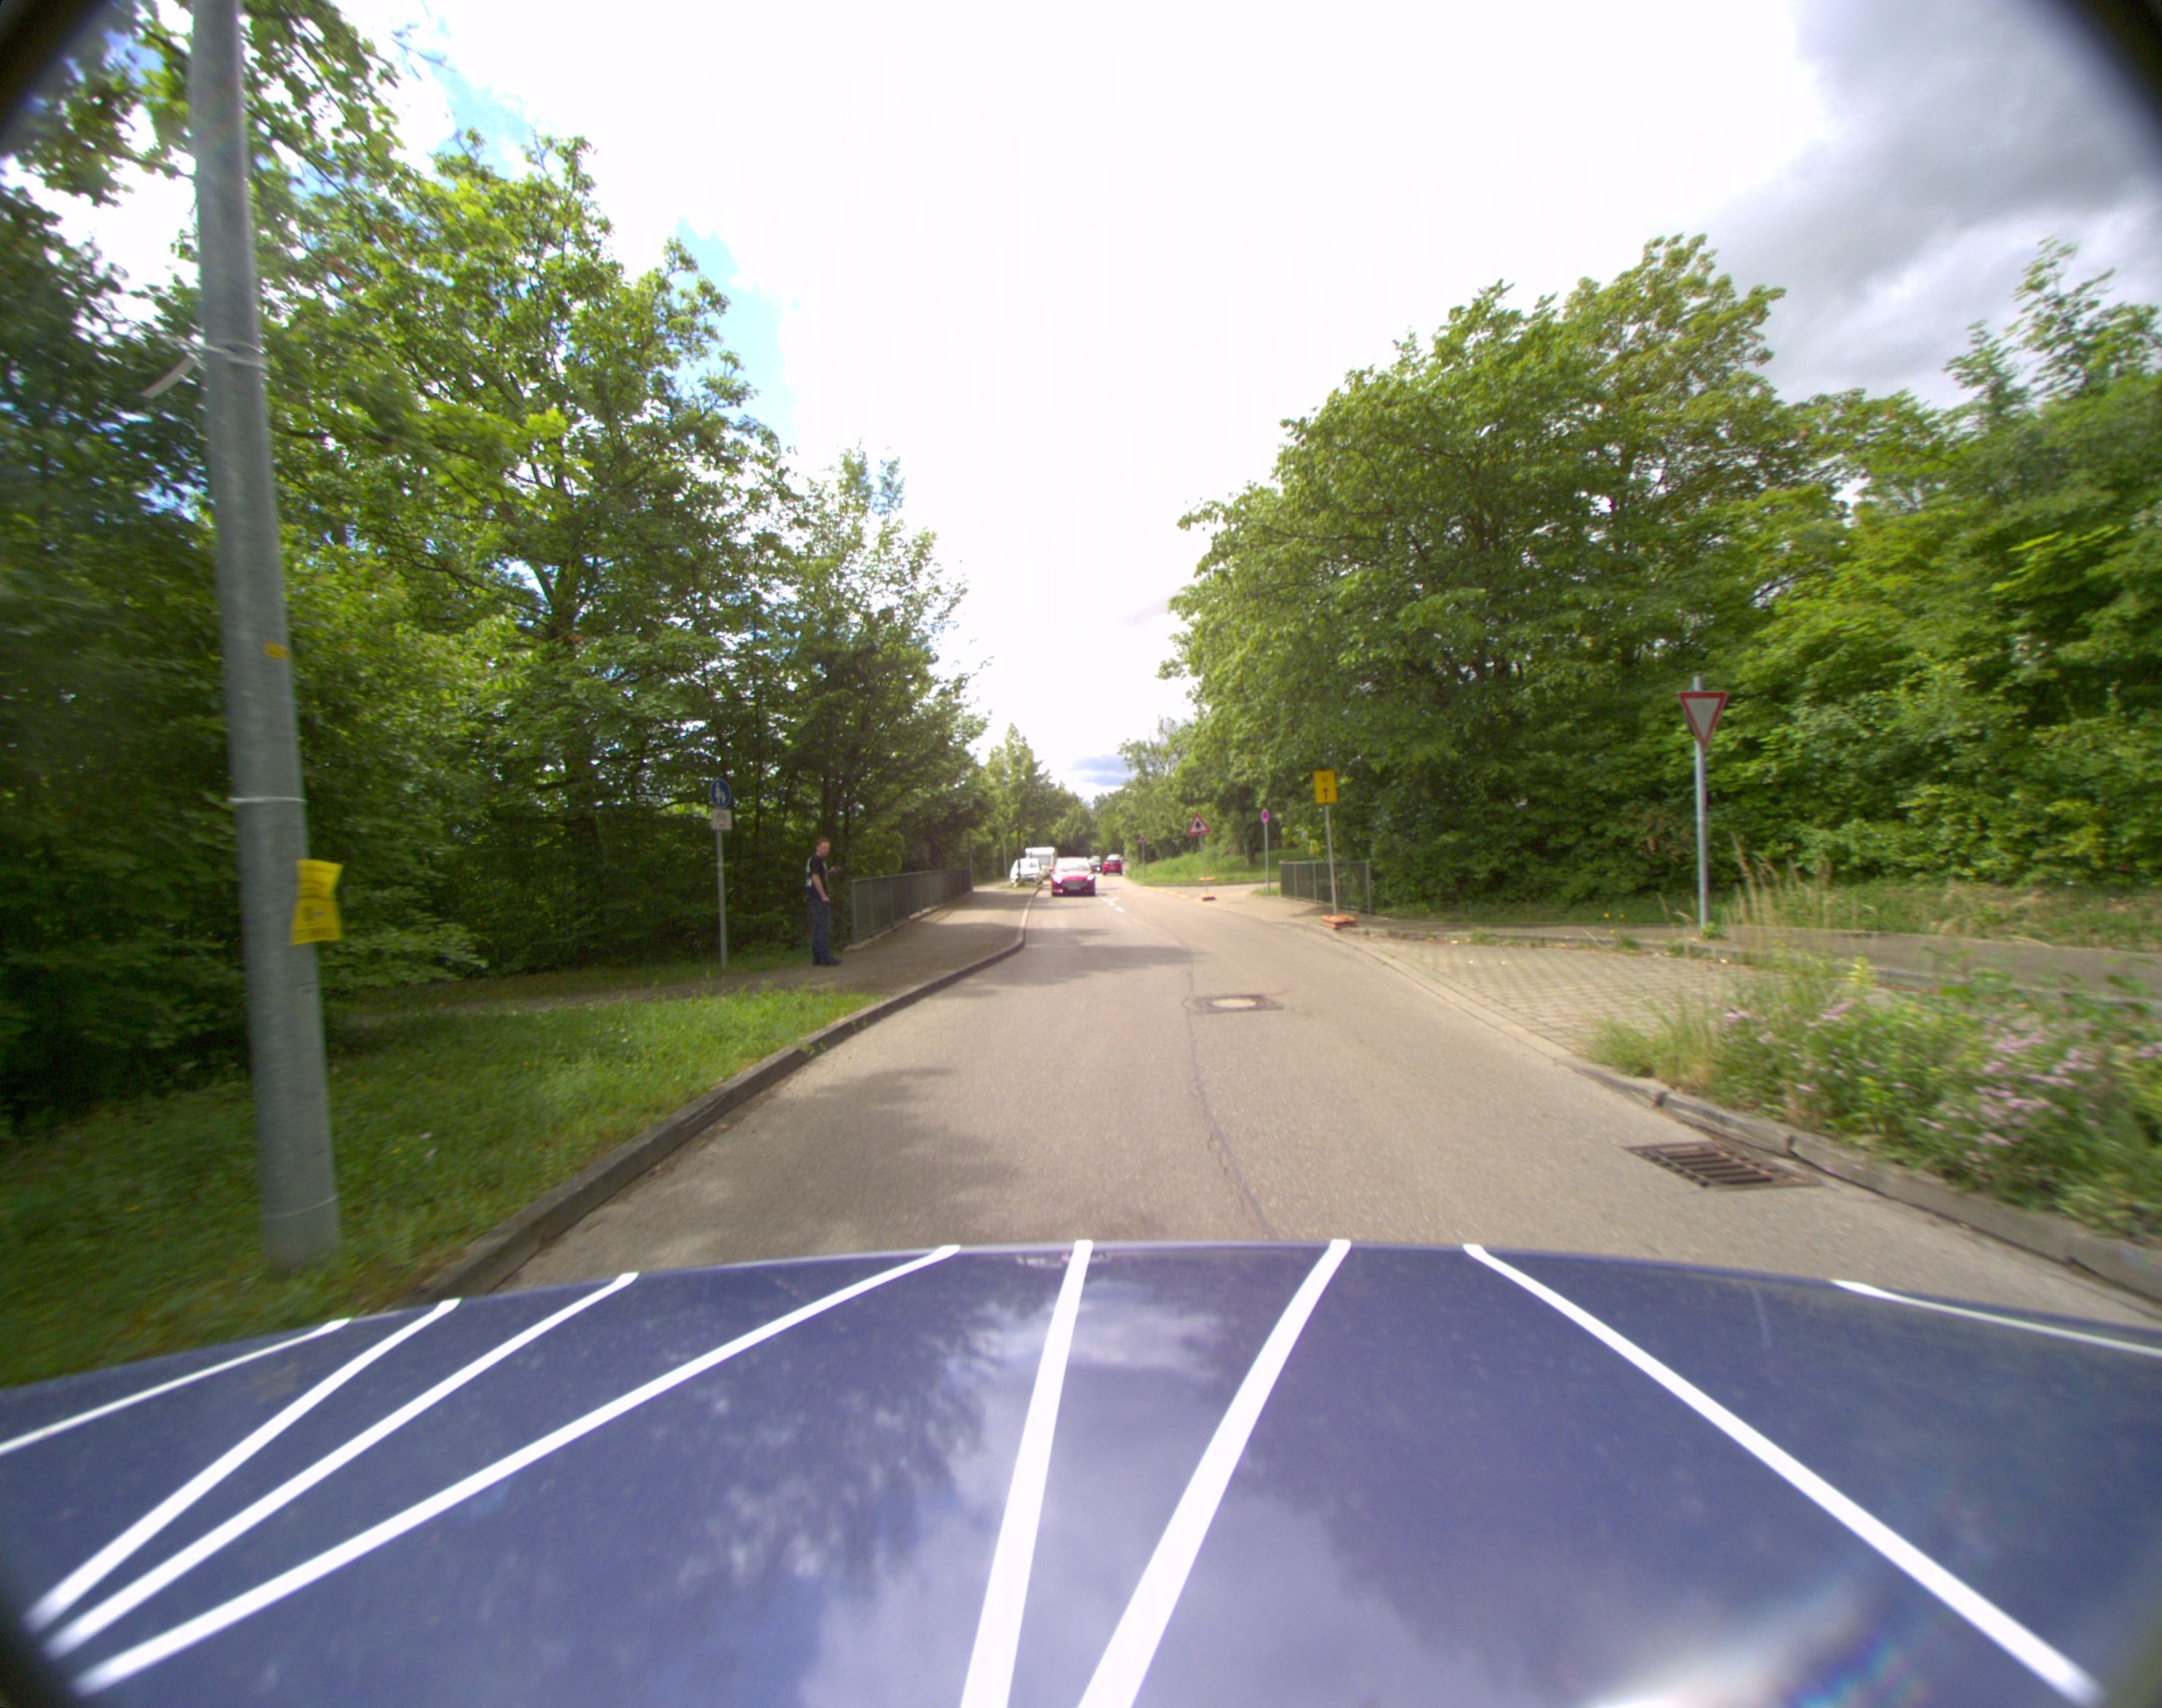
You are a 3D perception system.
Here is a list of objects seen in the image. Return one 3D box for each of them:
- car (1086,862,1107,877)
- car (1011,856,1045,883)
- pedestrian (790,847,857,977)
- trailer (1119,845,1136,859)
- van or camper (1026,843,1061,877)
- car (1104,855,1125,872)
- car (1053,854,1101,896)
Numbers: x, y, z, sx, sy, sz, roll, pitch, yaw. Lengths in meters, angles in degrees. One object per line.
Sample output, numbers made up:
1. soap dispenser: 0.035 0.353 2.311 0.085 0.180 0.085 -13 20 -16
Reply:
1. car: 1.711 1.646 83.922 1.794 1.500 4.115 2 1 8
2. car: -3.261 0.927 47.136 1.809 1.590 4.371 0 0 0
3. pedestrian: -3.616 0.793 10.712 0.682 1.773 0.589 -2 1 2
4. trailer: 7.487 -0.336 121.152 1.732 2.067 3.787 1 3 19
5. van or camper: -2.917 0.455 60.514 2.360 2.539 5.074 0 0 1
6. car: 3.333 0.921 75.024 1.847 1.649 4.223 -1 0 5
7. car: -0.244 0.887 33.397 1.912 1.688 4.386 -1 -1 -3
